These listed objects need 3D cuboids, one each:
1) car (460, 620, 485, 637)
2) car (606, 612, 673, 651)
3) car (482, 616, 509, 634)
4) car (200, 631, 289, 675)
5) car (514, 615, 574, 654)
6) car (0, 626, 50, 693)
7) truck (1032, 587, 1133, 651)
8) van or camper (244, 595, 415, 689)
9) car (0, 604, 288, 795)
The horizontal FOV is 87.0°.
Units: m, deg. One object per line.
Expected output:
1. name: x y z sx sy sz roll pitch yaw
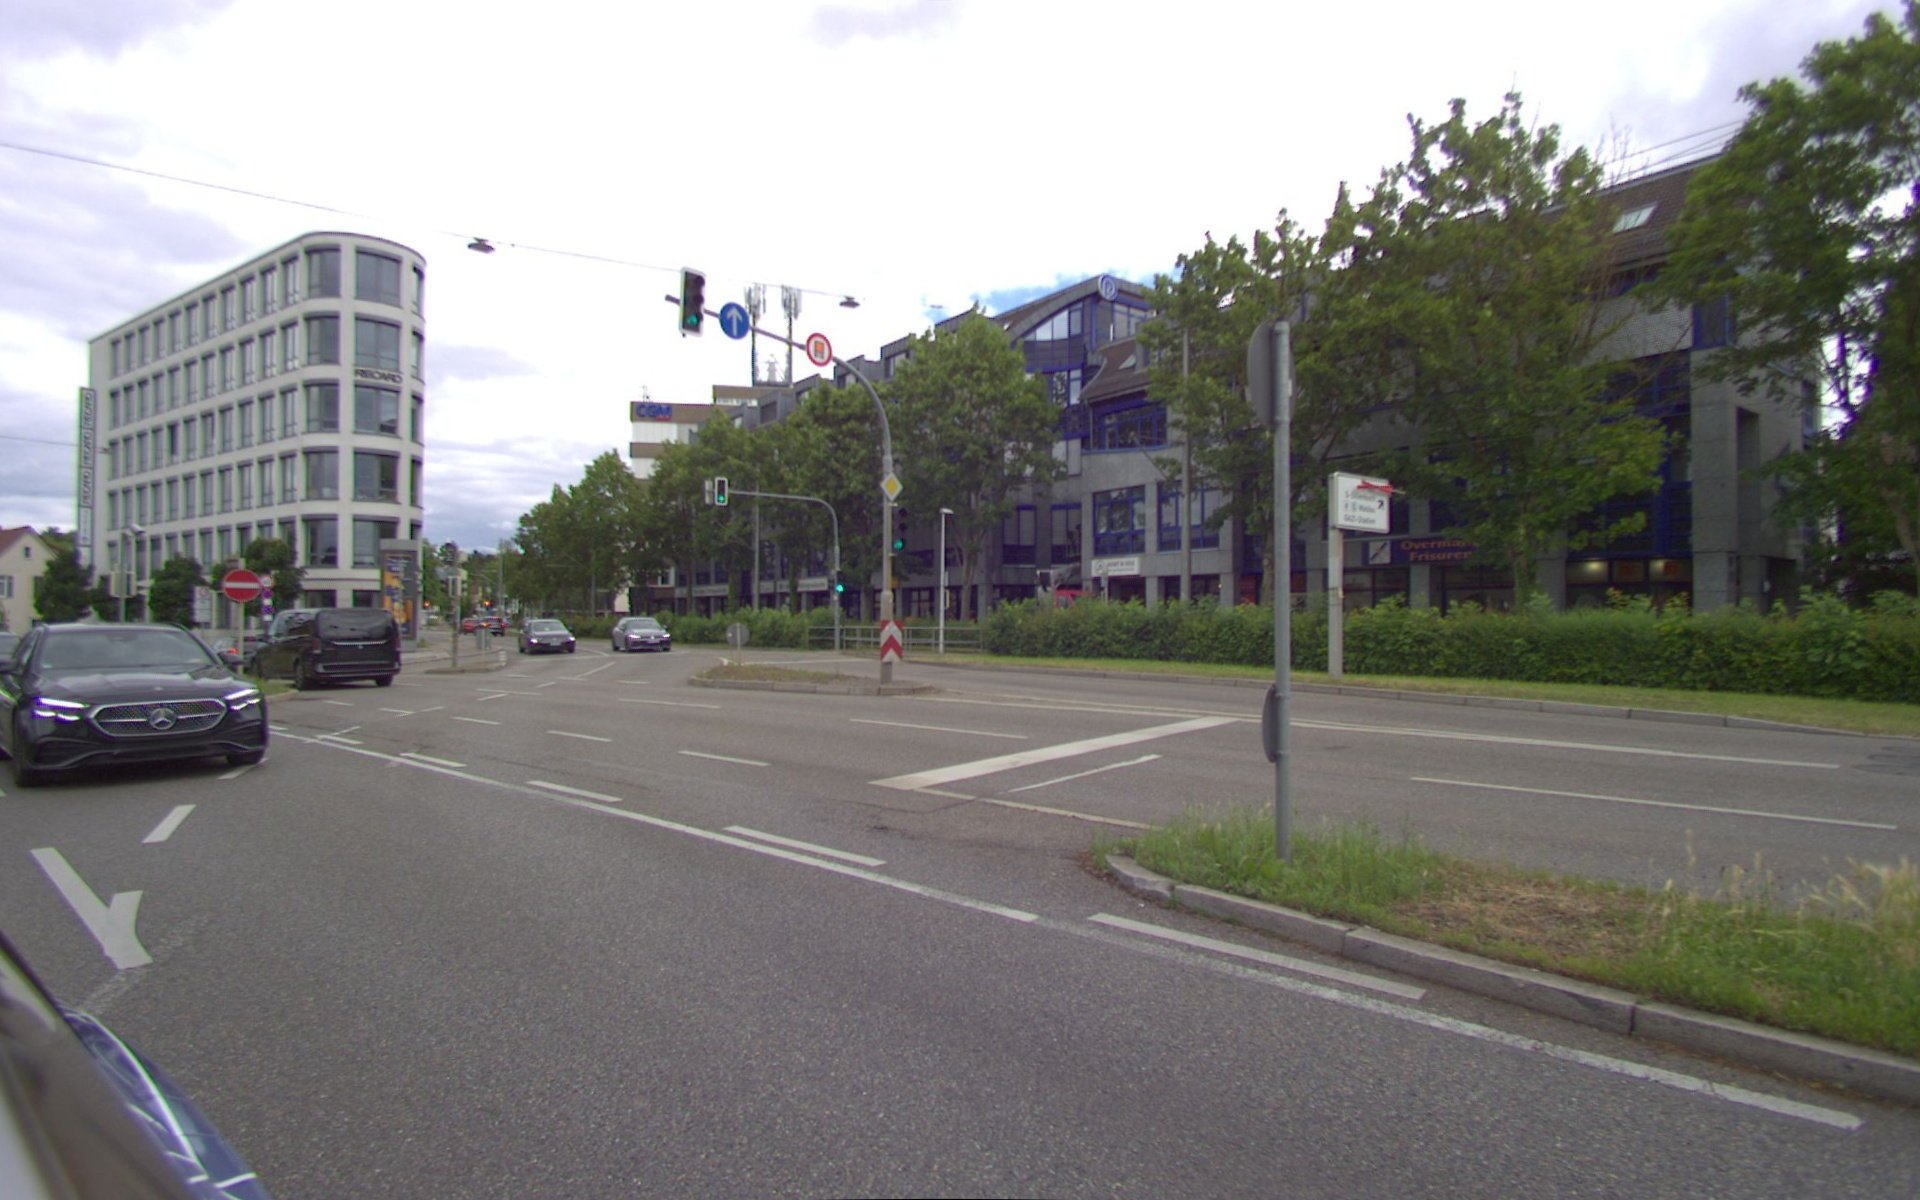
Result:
1. car: -45.005 2.615 93.444 1.689 1.474 4.454 -2 1 -30
2. car: -13.616 1.325 42.830 1.751 1.474 4.454 -3 0 -30
3. car: -39.947 2.132 86.935 1.689 1.474 4.454 -2 1 -30
4. car: -26.103 1.913 36.868 3.998 1.475 1.733 -2 -1 41
5. car: -17.971 1.437 43.601 1.751 1.474 4.454 -3 1 -30
6. car: -24.082 1.532 24.750 3.990 1.542 1.857 -5 -3 35
7. truck: 4.946 0.815 41.259 1.966 2.405 4.012 -2 -2 -29
8. van or camper: -14.797 0.925 23.615 5.245 1.952 1.907 -1 0 41
9. car: -8.656 0.859 10.401 4.333 1.541 1.854 -2 -1 41
